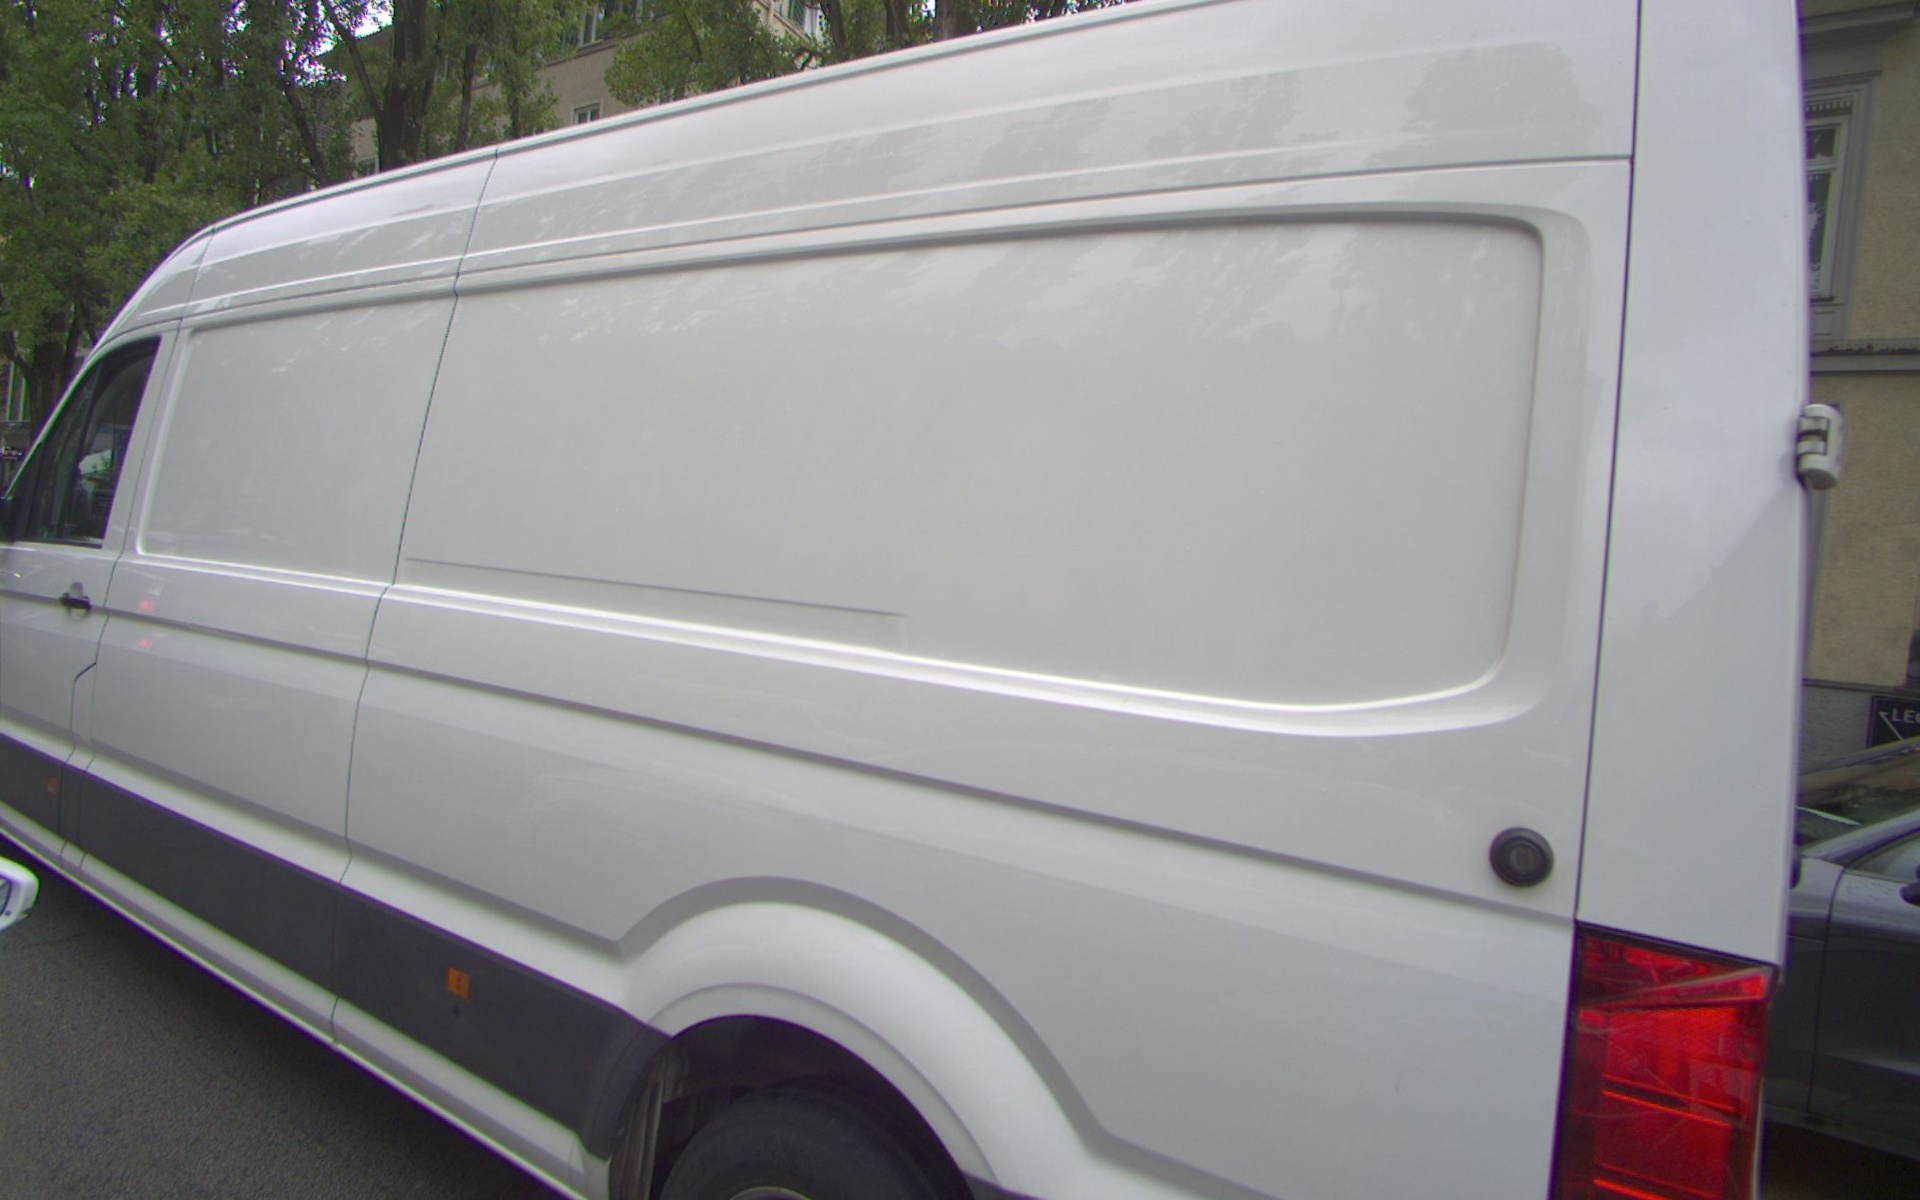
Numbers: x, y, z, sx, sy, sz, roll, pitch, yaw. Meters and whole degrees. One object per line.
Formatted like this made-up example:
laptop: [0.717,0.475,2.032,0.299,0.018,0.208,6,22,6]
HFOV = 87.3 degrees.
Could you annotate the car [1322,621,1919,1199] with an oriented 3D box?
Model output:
car: [3.756,1.196,3.406,4.372,1.657,1.807,7,-1,30]

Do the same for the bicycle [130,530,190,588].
bicycle: [-15.829,-0.811,19.893,1.429,1.009,0.349,6,2,28]

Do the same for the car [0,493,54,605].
car: [-14.882,-0.908,14.648,3.465,1.510,1.543,7,-1,33]

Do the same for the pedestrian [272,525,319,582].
pedestrian: [-17.093,-1.198,25.877,0.787,1.340,0.639,7,1,31]

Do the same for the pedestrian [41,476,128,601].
pedestrian: [-13.586,-0.949,15.610,0.859,1.795,0.825,7,1,44]

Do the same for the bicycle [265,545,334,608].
bicycle: [-11.940,-0.424,18.182,1.429,1.009,0.349,6,2,28]

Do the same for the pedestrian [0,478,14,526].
pedestrian: [-35.339,-3.632,36.854,0.745,1.707,0.674,6,1,27]

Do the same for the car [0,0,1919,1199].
car: [-1.392,0.103,3.304,6.619,2.522,2.066,7,0,32]
